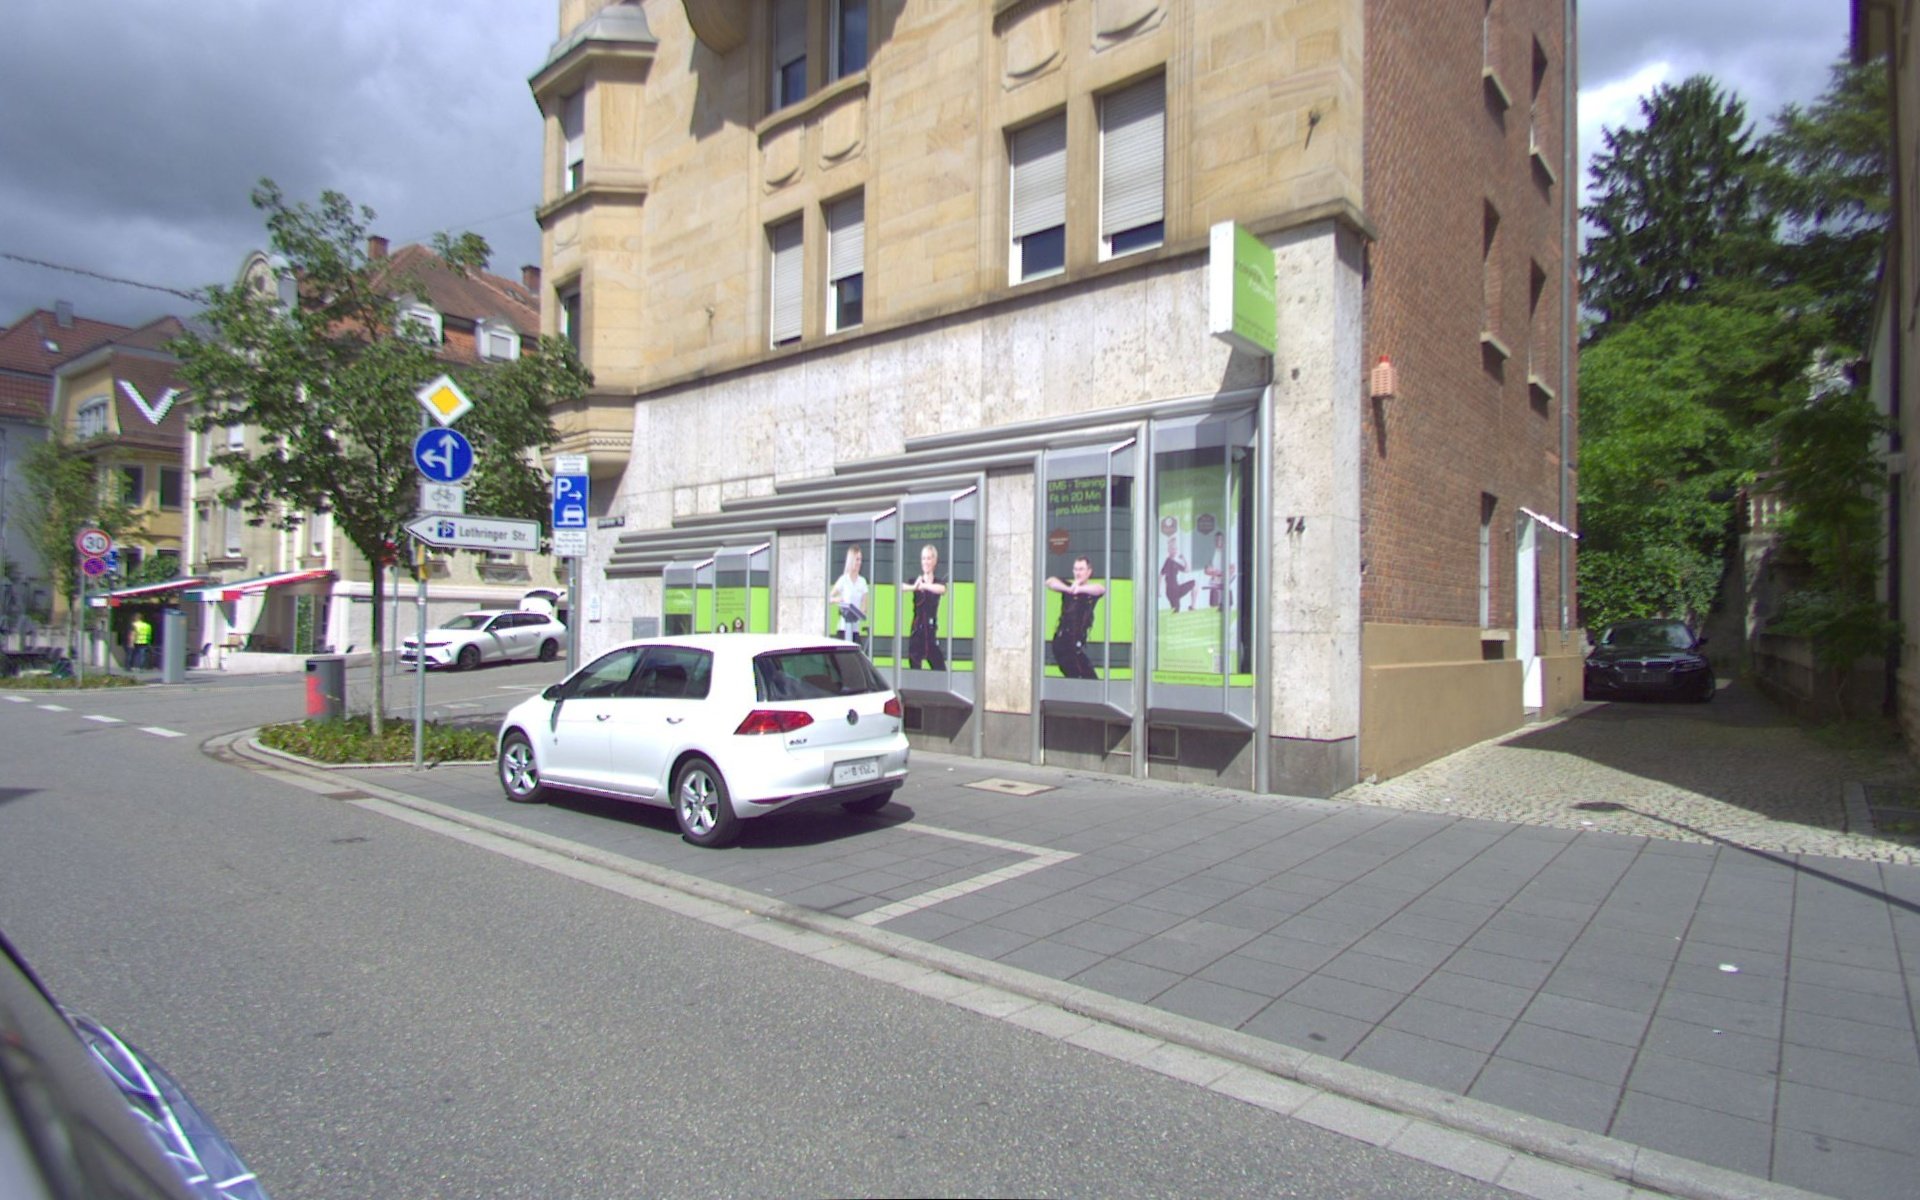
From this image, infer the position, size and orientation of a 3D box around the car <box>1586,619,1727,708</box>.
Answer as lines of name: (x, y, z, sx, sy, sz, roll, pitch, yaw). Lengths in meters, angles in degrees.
car: (12.653, 1.065, 18.499, 1.930, 1.342, 3.954, 0, 0, 34)

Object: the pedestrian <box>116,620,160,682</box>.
pedestrian: (-24.195, 1.478, 29.785, 0.810, 1.770, 0.792, 0, 0, 32)

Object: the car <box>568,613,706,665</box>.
car: (-10.040, 1.177, 31.772, 1.820, 1.391, 4.200, -1, 1, 23)

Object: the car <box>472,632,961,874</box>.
car: (-2.130, 1.018, 8.310, 4.031, 1.408, 1.828, 0, 0, 38)

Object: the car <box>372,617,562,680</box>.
car: (-12.823, 1.204, 26.663, 1.985, 1.391, 4.358, -1, 1, 20)
